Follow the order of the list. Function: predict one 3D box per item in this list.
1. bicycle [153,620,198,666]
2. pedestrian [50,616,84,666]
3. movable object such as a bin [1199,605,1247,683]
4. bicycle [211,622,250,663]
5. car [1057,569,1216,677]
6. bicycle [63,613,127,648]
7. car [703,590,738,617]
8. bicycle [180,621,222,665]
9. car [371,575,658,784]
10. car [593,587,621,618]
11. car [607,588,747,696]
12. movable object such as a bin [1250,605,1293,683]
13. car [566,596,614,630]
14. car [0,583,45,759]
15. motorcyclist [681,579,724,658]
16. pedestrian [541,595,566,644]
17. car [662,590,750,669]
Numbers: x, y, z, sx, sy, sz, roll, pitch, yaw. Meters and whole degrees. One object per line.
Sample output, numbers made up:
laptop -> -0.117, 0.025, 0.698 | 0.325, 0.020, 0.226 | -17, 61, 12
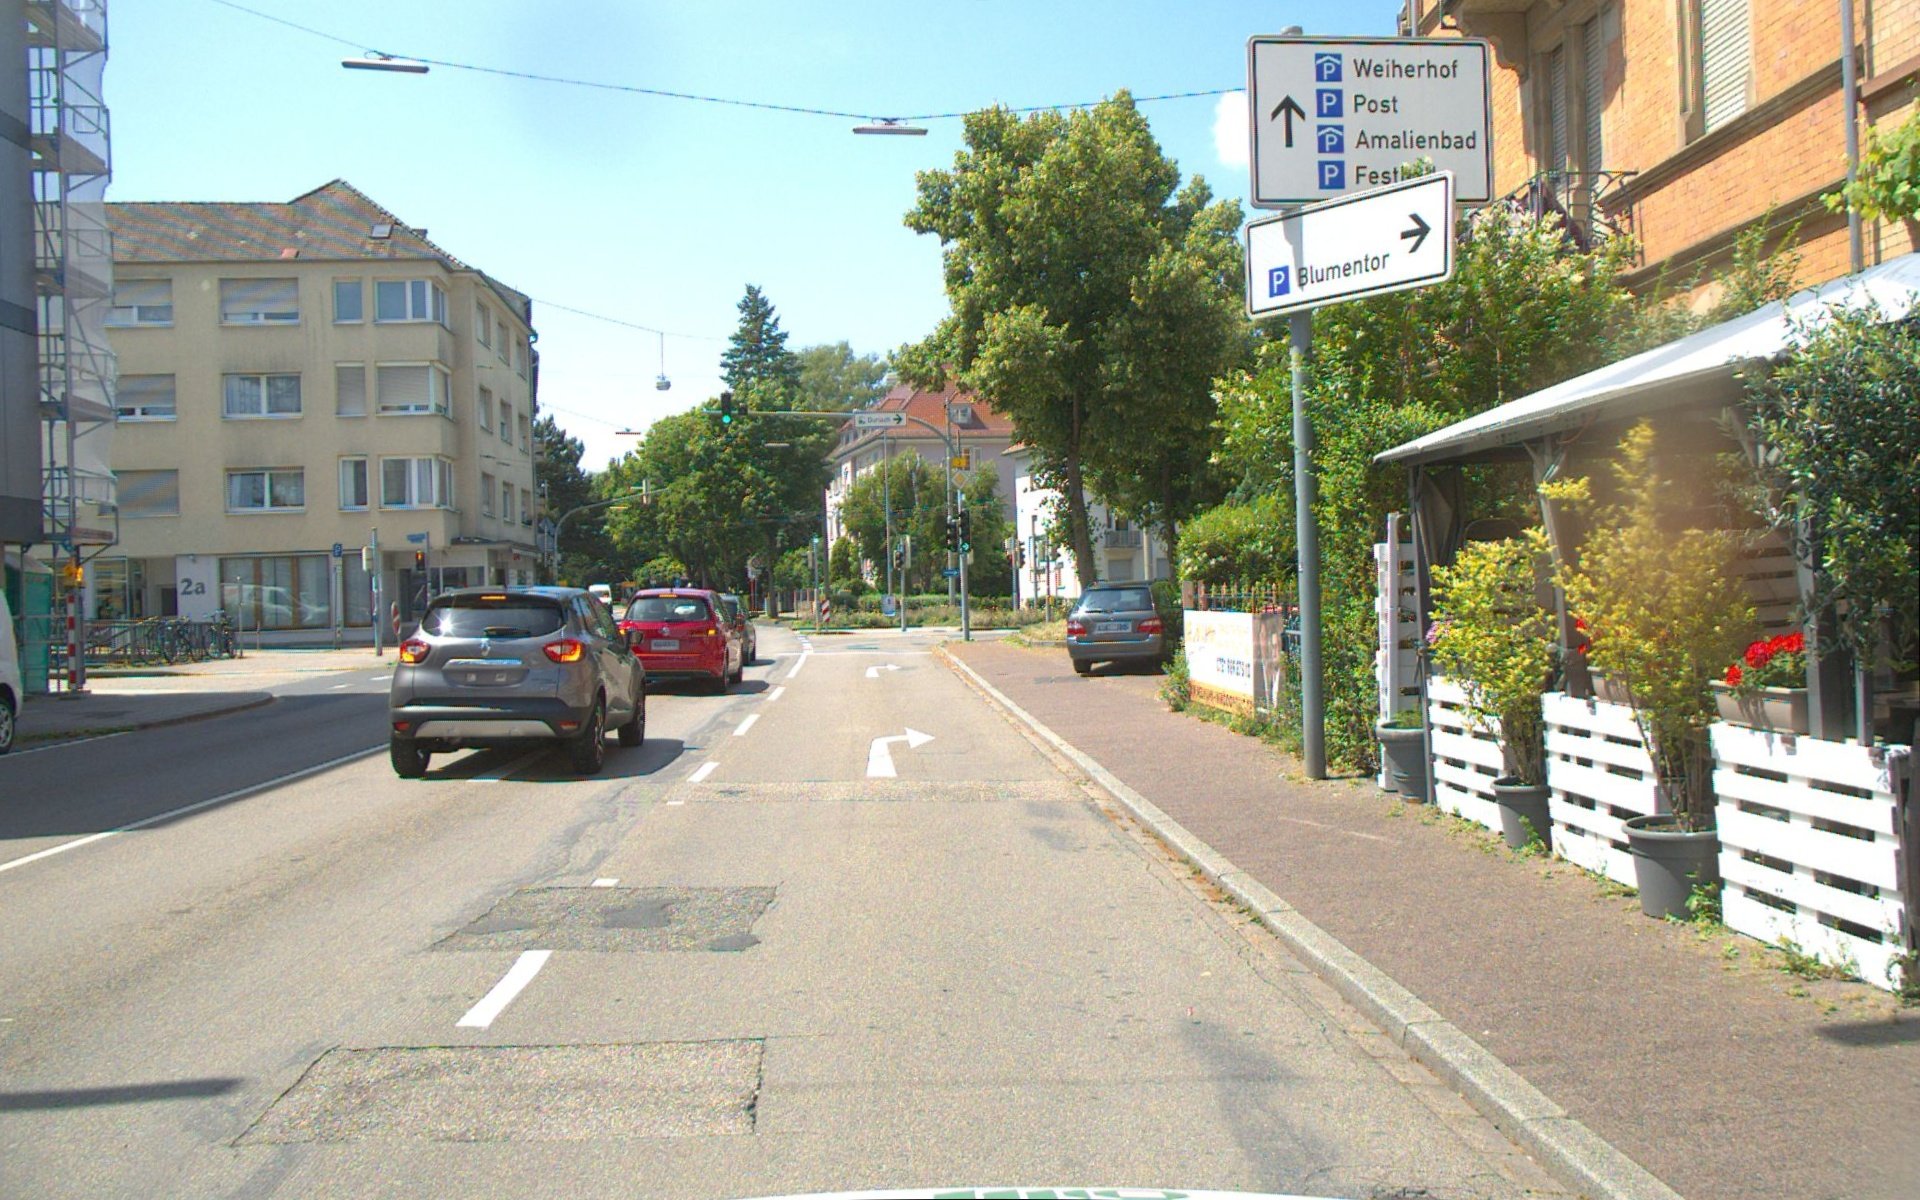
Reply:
bicycle -> -17.644, 0.962, 37.207 | 0.389, 0.984, 1.716 | -1, 0, -8
pedestrian -> -27.088, 1.241, 50.177 | 0.672, 1.501, 0.648 | -1, 0, -3
movable object such as a bin -> 3.796, 0.632, 23.874 | 0.635, 1.090, 0.637 | -1, 0, 7
bicycle -> -18.136, 1.045, 41.165 | 0.389, 0.984, 1.780 | -1, 0, -8
car -> 3.191, 0.336, 28.921 | 1.795, 1.575, 5.160 | -2, 1, 17
bicycle -> -27.389, 0.956, 52.389 | 1.704, 1.044, 0.498 | -1, 0, -6
car -> -17.250, 0.245, 118.854 | 1.961, 1.839, 3.983 | -1, 0, -16
bicycle -> -17.917, 1.008, 39.061 | 0.389, 0.984, 1.743 | -1, 0, -8
car -> -3.954, 0.625, 15.330 | 1.719, 1.660, 3.998 | -1, 0, -3
car -> -31.687, 0.249, 148.251 | 2.179, 2.544, 7.528 | -5, 1, -13
car -> -4.463, 0.619, 26.605 | 1.763, 1.585, 4.034 | -1, 0, -3
movable object such as a bin -> 4.476, 0.623, 23.794 | 0.540, 1.090, 0.706 | -1, 0, 6
car -> -17.525, 0.636, 78.261 | 1.962, 1.546, 3.981 | 0, -1, -17
car -> -10.945, 0.788, 15.900 | 1.876, 1.857, 4.783 | -3, 0, -5
motorcyclist -> -4.898, 0.347, 31.509 | 0.697, 1.471, 1.018 | -1, 0, -5
pedestrian -> -16.557, 0.782, 67.315 | 0.920, 1.965, 0.973 | -1, 0, -16
car -> -5.502, 0.609, 36.191 | 1.765, 1.585, 4.031 | -1, 0, -7
